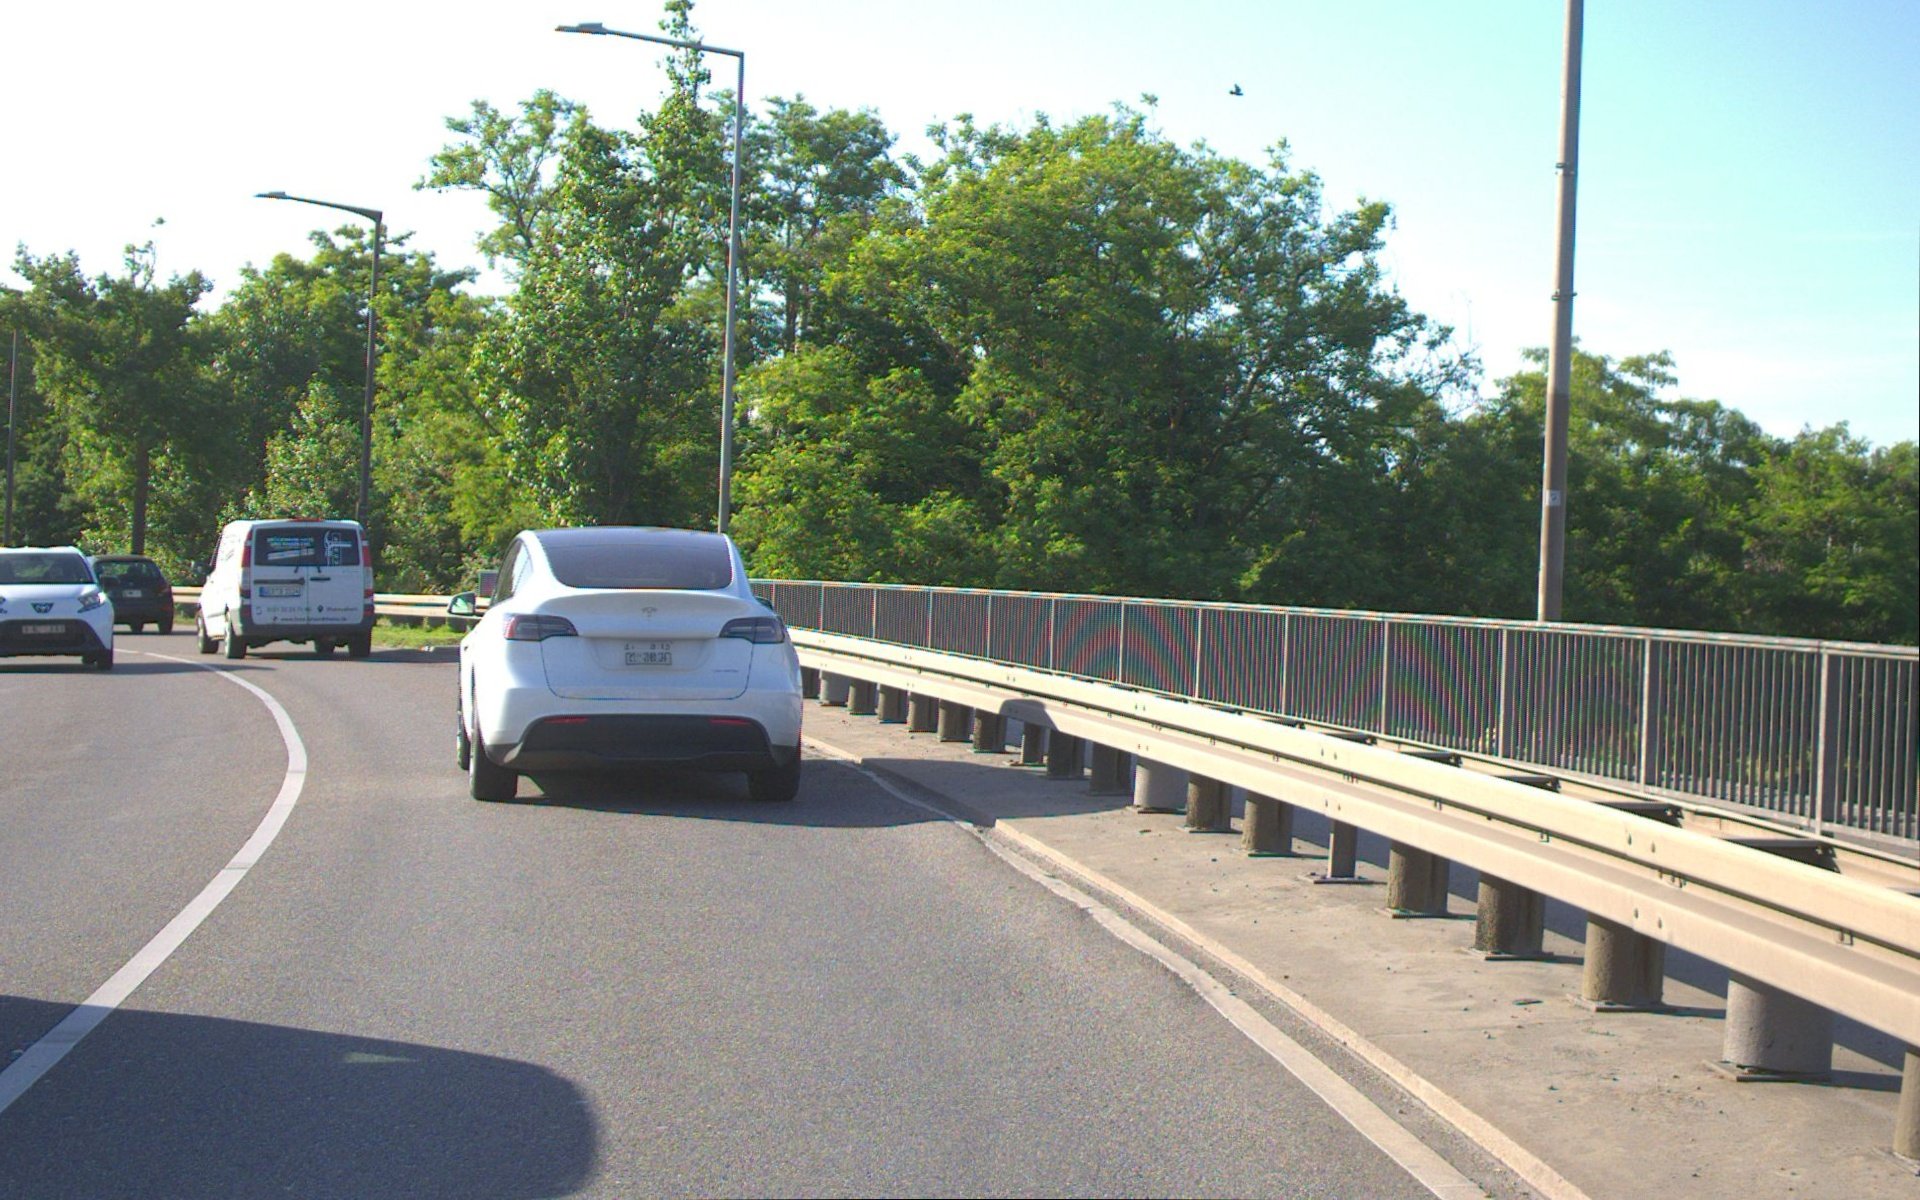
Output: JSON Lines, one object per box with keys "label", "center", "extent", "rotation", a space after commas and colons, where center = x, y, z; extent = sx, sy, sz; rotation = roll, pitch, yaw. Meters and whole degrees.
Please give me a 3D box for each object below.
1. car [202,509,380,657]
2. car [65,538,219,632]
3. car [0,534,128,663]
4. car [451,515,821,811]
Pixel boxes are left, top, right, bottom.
{"label": "car", "center": [-9.236, -0.266, 47.222], "extent": [2.004, 1.934, 4.469], "rotation": [0, 1, -16]}
{"label": "car", "center": [-14.942, -0.269, 62.668], "extent": [1.968, 1.632, 4.001], "rotation": [-1, 1, -25]}
{"label": "car", "center": [-11.609, -0.054, 42.365], "extent": [1.836, 1.514, 3.770], "rotation": [-1, 1, -26]}
{"label": "car", "center": [-2.104, 0.334, 21.252], "extent": [1.985, 1.632, 4.064], "rotation": [1, 1, -9]}
